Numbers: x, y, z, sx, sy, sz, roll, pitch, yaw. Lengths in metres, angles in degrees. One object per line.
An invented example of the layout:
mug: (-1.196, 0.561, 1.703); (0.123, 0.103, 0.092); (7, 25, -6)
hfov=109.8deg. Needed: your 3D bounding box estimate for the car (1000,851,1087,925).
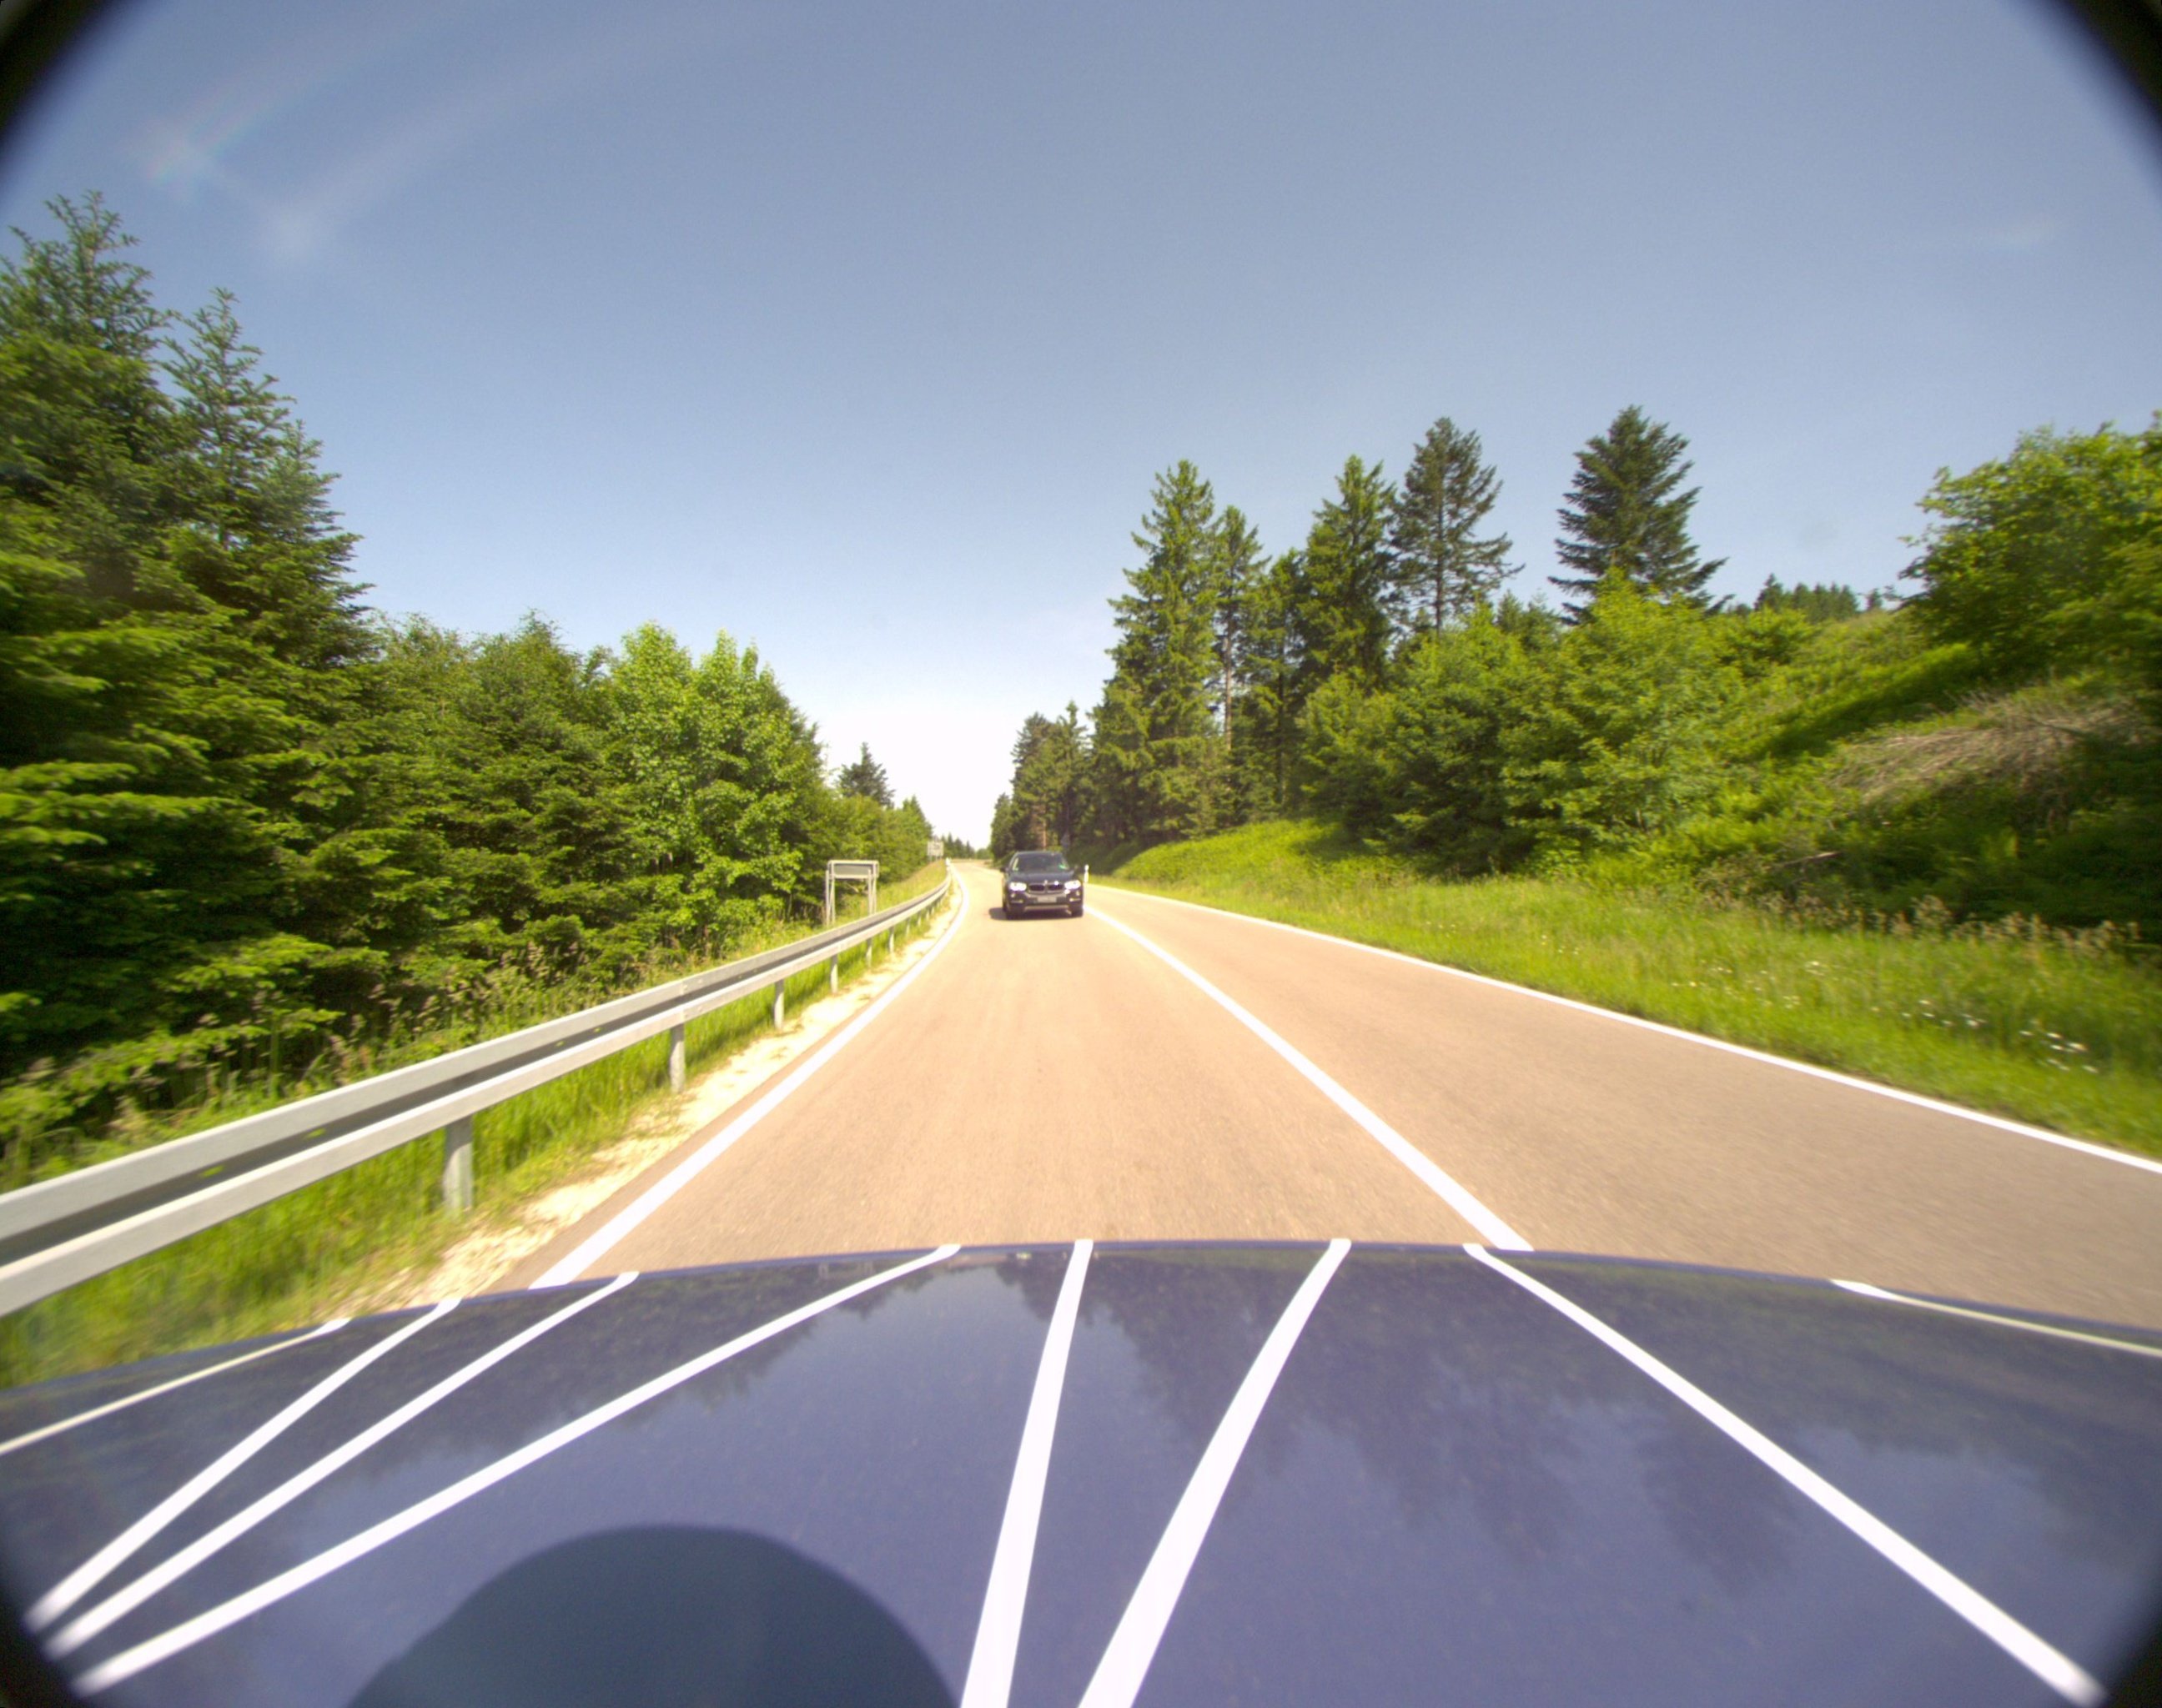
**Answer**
car: (-1.197, 0.808, 21.146); (1.999, 1.676, 5.933); (-2, 0, -6)
